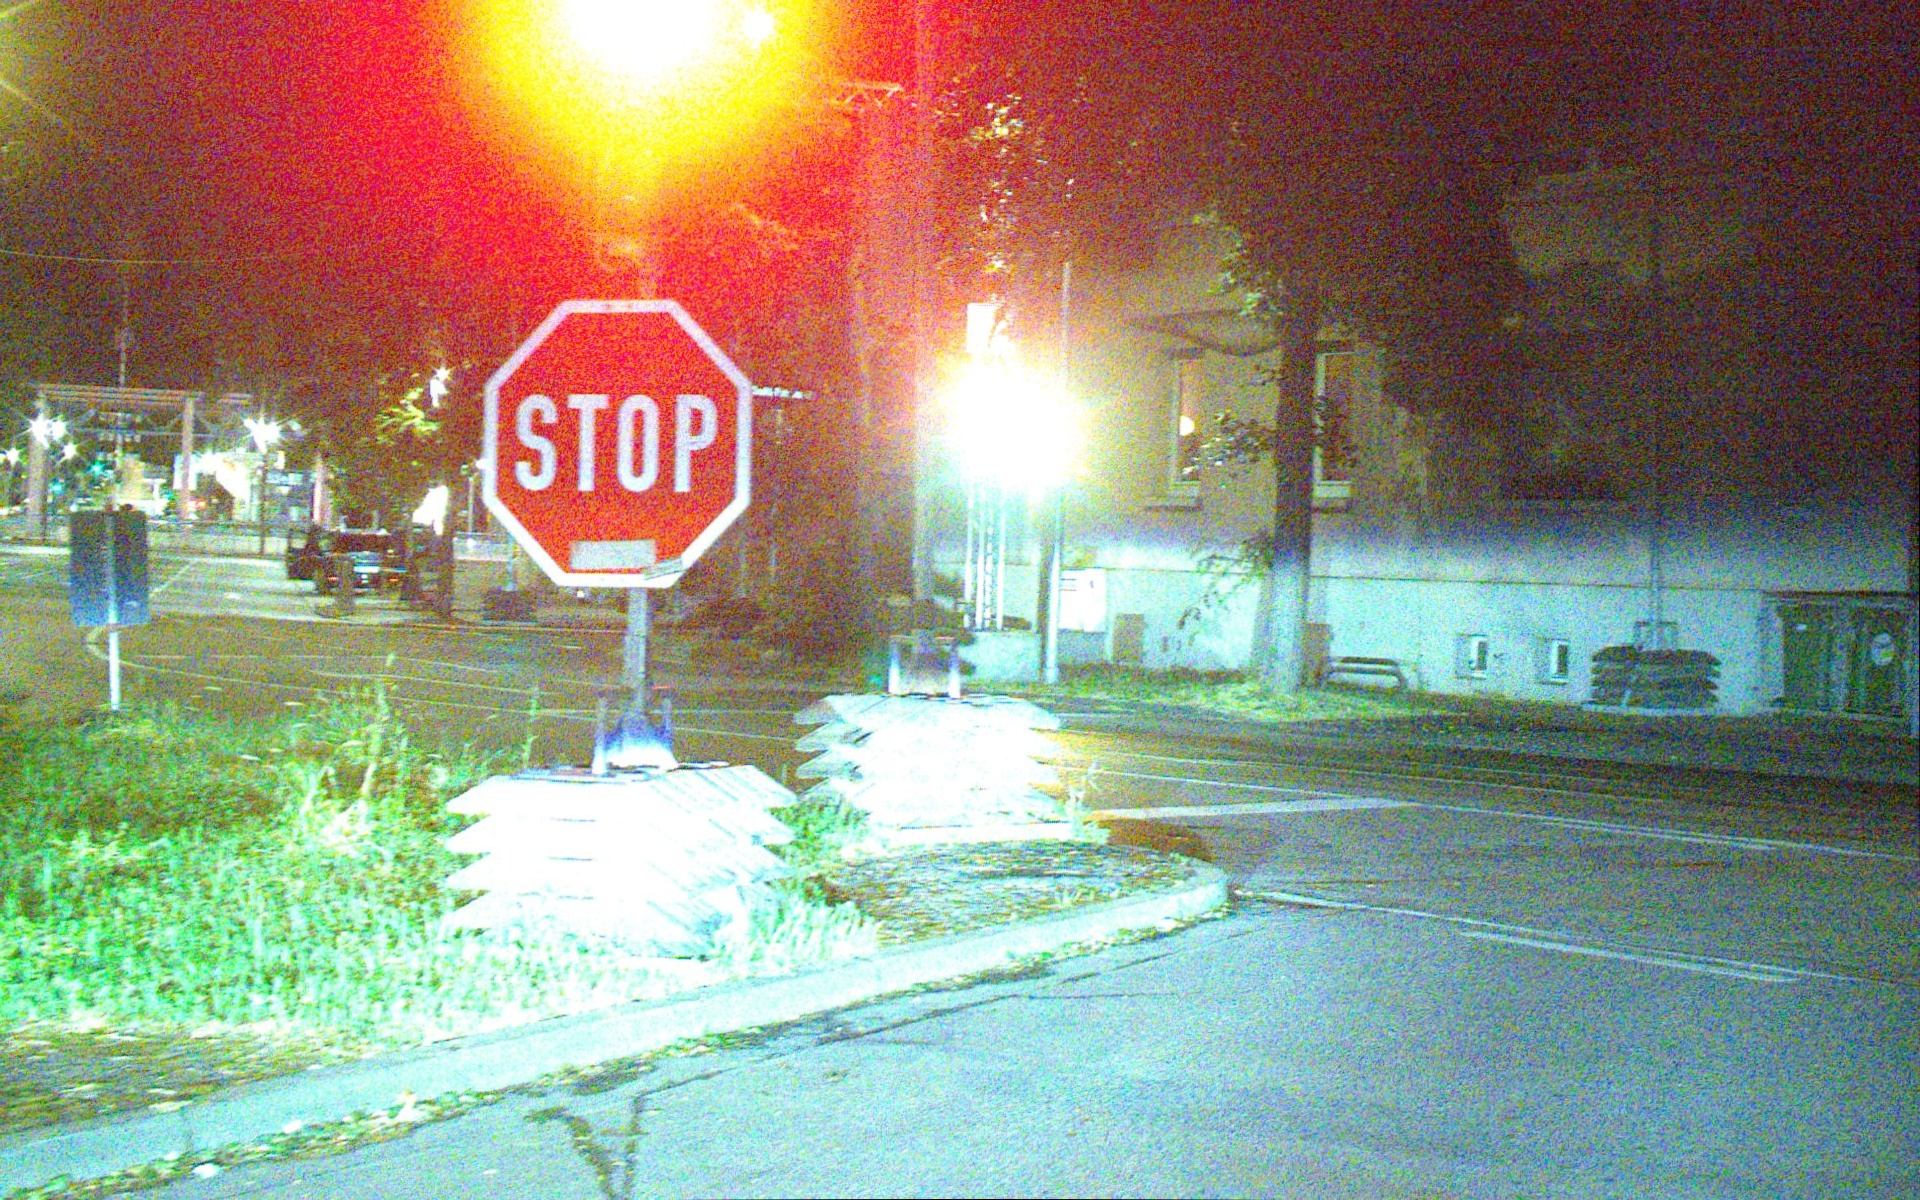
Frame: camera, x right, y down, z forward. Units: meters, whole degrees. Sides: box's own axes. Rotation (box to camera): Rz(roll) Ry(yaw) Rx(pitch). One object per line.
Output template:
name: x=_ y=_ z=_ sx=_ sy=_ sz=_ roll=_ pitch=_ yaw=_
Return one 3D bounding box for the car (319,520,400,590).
car: x=-13.060 y=-0.996 z=74.712 sx=1.651 sy=1.426 sz=4.001 roll=2 pitch=1 yaw=-10
